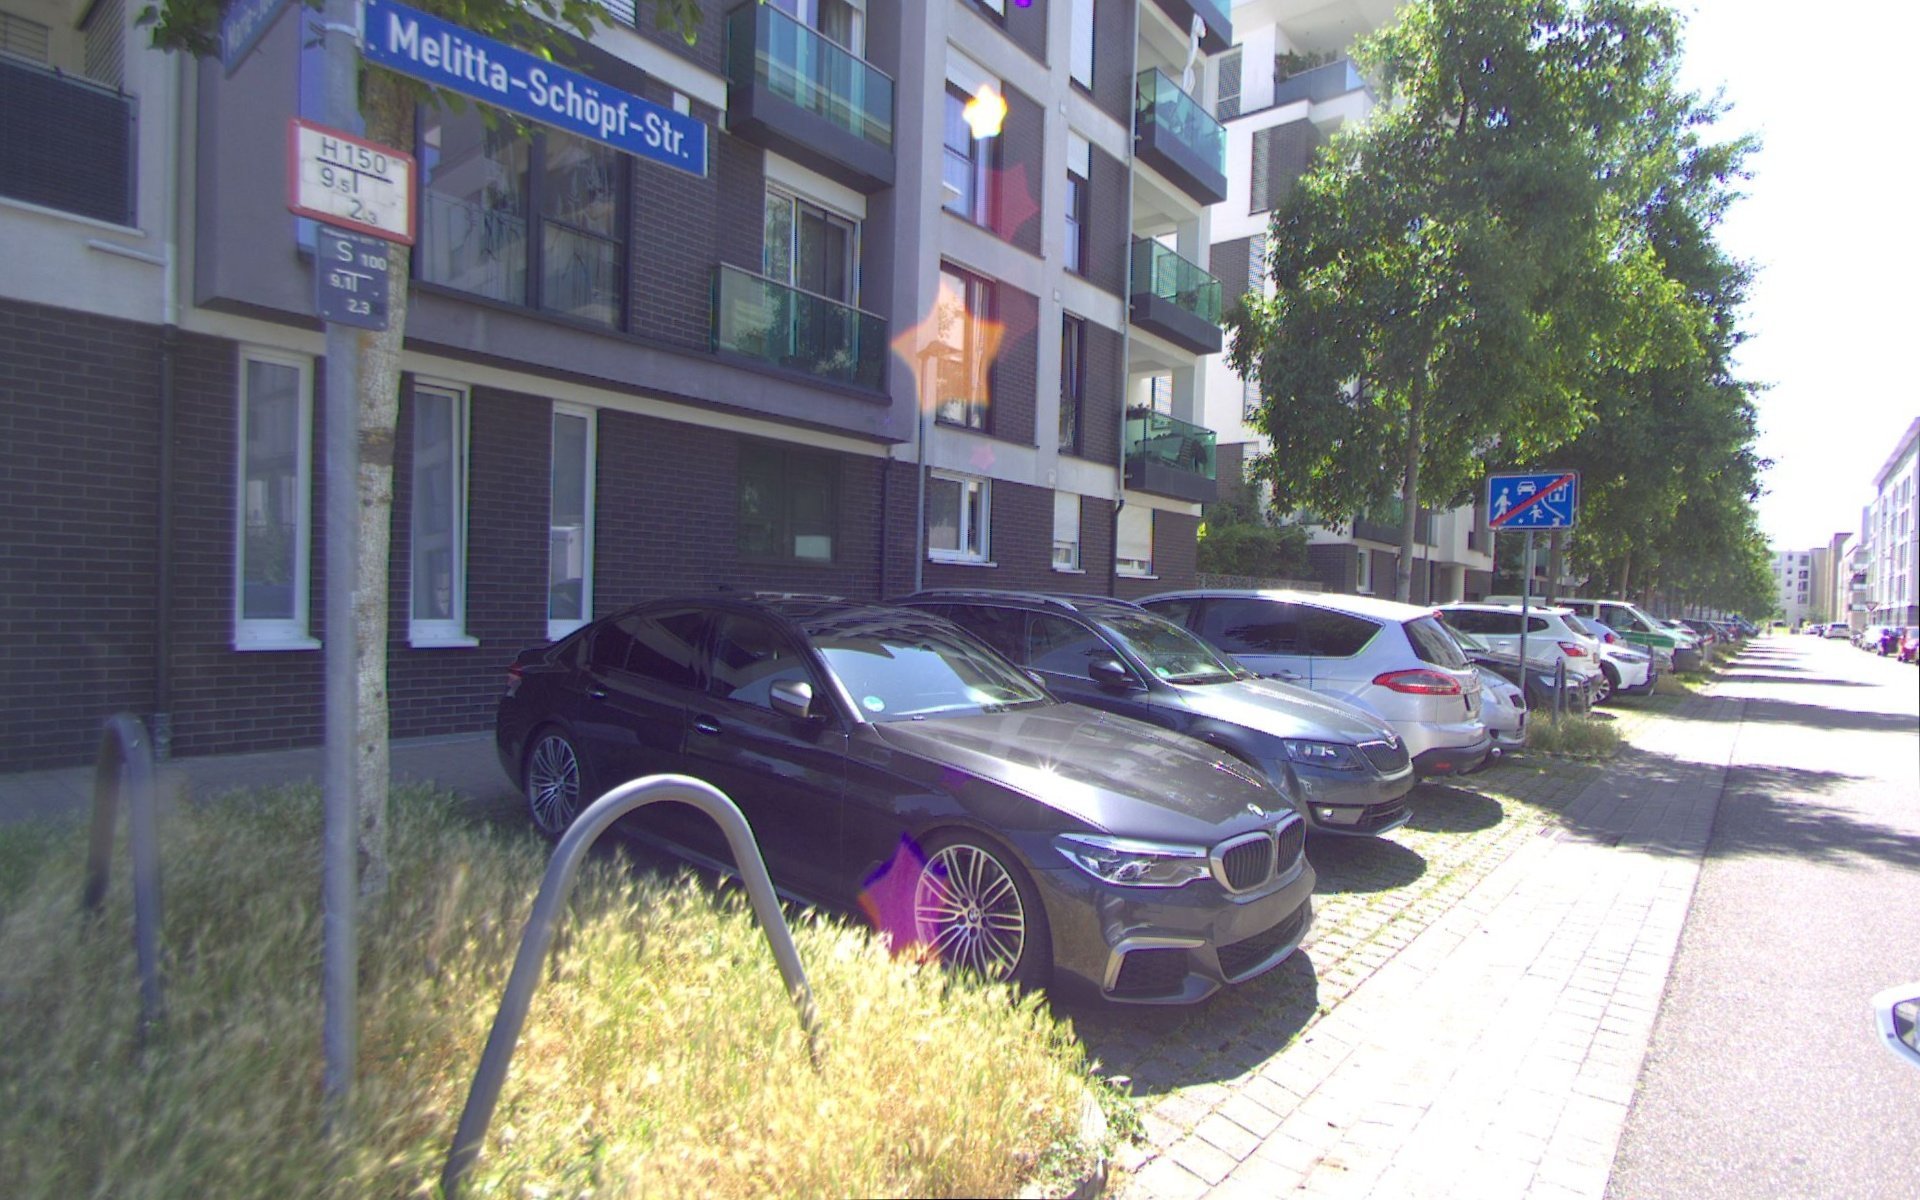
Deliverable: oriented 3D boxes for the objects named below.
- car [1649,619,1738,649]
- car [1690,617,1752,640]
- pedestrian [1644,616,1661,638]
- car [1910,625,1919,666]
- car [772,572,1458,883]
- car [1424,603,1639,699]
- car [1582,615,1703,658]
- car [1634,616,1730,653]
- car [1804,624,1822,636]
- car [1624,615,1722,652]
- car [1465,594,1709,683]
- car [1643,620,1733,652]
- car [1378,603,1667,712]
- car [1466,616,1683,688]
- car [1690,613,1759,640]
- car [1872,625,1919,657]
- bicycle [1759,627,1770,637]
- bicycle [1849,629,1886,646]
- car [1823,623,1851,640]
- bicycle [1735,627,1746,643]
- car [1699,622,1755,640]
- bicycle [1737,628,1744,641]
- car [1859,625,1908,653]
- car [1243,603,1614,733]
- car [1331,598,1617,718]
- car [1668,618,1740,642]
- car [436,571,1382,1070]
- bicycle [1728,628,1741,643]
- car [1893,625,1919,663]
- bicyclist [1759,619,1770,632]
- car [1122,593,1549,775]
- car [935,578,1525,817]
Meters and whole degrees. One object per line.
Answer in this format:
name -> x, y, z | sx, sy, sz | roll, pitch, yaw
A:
car -> 44.432, 2.041, 60.897 | 4.306, 1.733, 1.992 | -1, -2, 38
car -> 80.778, 2.973, 106.675 | 5.084, 2.147, 2.301 | 2, 1, 40
pedestrian -> 55.351, 2.181, 80.278 | 0.989, 1.713, 0.827 | 1, 0, 43
car -> 36.247, 1.662, 36.828 | 1.717, 1.506, 4.239 | -1, -1, 39
car -> 0.912, 0.667, 7.548 | 4.757, 1.468, 1.821 | 4, 1, 38
car -> 11.990, 0.994, 21.158 | 3.635, 1.698, 1.844 | 3, 1, 39
car -> 30.033, 1.561, 44.271 | 4.201, 1.538, 1.916 | 4, 2, 40
car -> 38.374, 1.808, 53.430 | 3.942, 1.673, 1.908 | 3, 1, 42
car -> 130.681, 4.598, 153.919 | 1.969, 1.697, 3.983 | 1, 0, 38
car -> 36.607, 1.691, 51.635 | 3.939, 1.651, 1.924 | 3, 1, 40
car -> 16.725, 0.945, 26.981 | 5.282, 2.139, 2.176 | 1, -1, 42
car -> 40.113, 1.966, 55.405 | 3.922, 1.464, 1.769 | 3, 1, 36
car -> 10.524, 0.982, 18.958 | 4.497, 1.615, 1.960 | 3, 1, 35
car -> 15.047, 1.208, 24.693 | 4.365, 1.509, 1.992 | 1, -1, 38
car -> 84.281, 2.873, 110.794 | 5.953, 2.854, 2.593 | 0, -1, 40
car -> 45.644, 1.968, 48.829 | 1.623, 1.482, 4.100 | -1, -2, 39
bicycle -> 90.382, 3.572, 112.813 | 0.887, 1.144, 2.031 | 1, 0, 38
bicycle -> 62.150, 2.561, 68.804 | 1.804, 1.163, 0.460 | 0, -1, 21
car -> 87.860, 3.139, 100.646 | 1.974, 1.679, 4.096 | 0, -1, 40
bicycle -> 60.165, 2.695, 77.442 | 0.365, 1.196, 1.818 | 0, -1, 27
car -> 76.847, 3.088, 100.627 | 4.331, 1.535, 2.065 | 3, 1, 40
bicycle -> 71.625, 3.116, 92.127 | 0.460, 1.157, 1.919 | 1, 0, 37
car -> 52.861, 2.192, 57.568 | 1.812, 1.524, 4.331 | -1, -2, 39
car -> 6.987, 0.913, 15.332 | 4.793, 1.476, 1.820 | 3, 1, 40
car -> 8.667, 0.887, 17.099 | 3.935, 1.651, 1.939 | 3, 1, 42
car -> 54.006, 2.194, 72.977 | 4.126, 1.505, 1.952 | 2, -1, 37
car -> -0.641, 0.665, 5.416 | 5.034, 1.504, 1.920 | 2, 0, 38
bicycle -> 59.875, 2.721, 77.652 | 0.427, 1.143, 1.976 | 0, -1, 27
car -> 39.557, 1.764, 41.244 | 1.576, 1.505, 3.659 | -1, -2, 39
bicyclist -> 90.370, 2.863, 112.829 | 0.942, 1.479, 0.796 | 1, 0, 39
car -> 4.176, 0.799, 11.479 | 4.196, 1.551, 1.816 | 3, 1, 37
car -> 2.339, 0.673, 9.488 | 4.965, 1.654, 2.034 | 2, 1, 38
